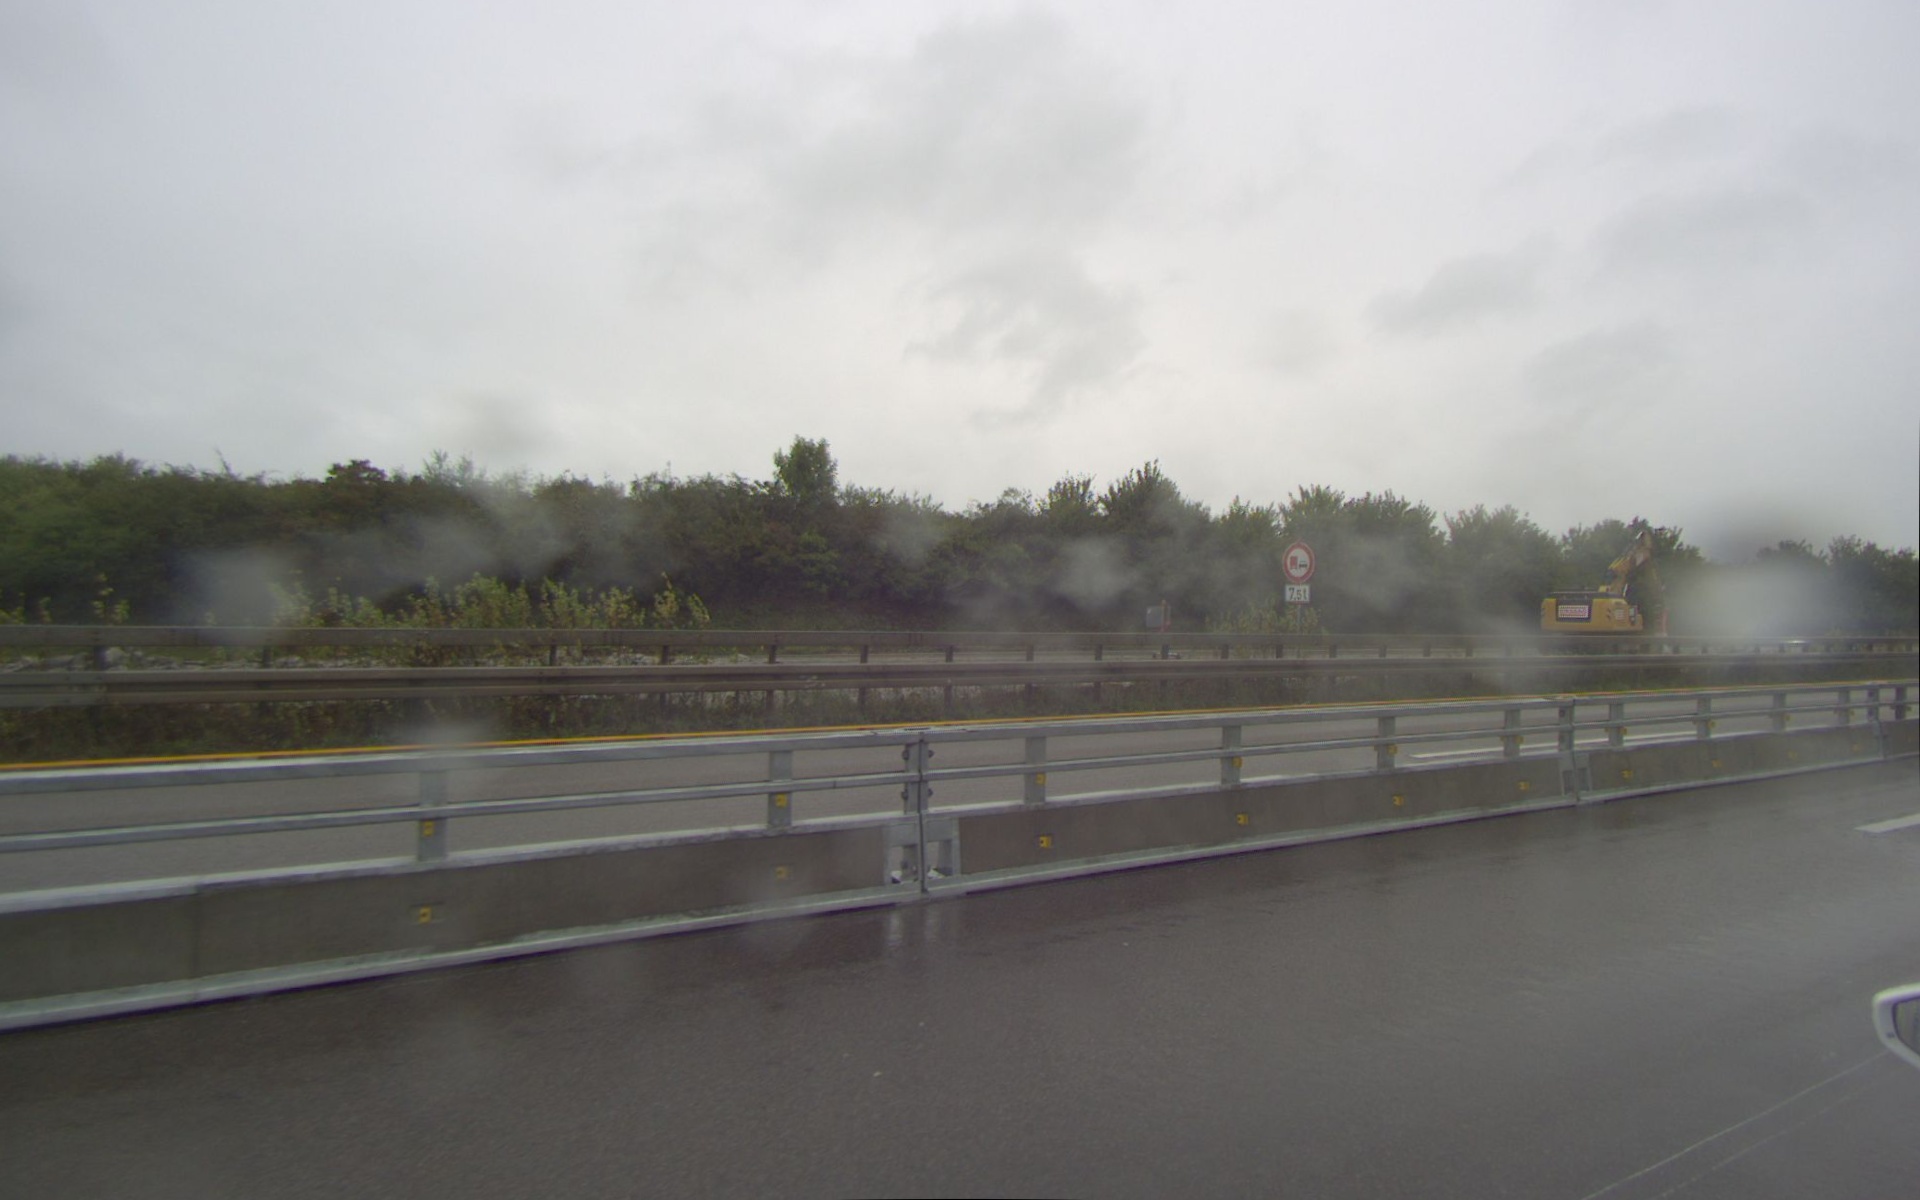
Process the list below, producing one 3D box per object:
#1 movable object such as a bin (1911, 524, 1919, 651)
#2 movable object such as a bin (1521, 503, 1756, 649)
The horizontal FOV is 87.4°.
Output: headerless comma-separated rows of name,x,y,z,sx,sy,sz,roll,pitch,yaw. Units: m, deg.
movable object such as a bin,66.645,-0.688,65.708,8.197,8.252,3.585,2,1,-26
movable object such as a bin,31.325,-0.920,46.259,10.906,5.994,4.154,2,1,-28
